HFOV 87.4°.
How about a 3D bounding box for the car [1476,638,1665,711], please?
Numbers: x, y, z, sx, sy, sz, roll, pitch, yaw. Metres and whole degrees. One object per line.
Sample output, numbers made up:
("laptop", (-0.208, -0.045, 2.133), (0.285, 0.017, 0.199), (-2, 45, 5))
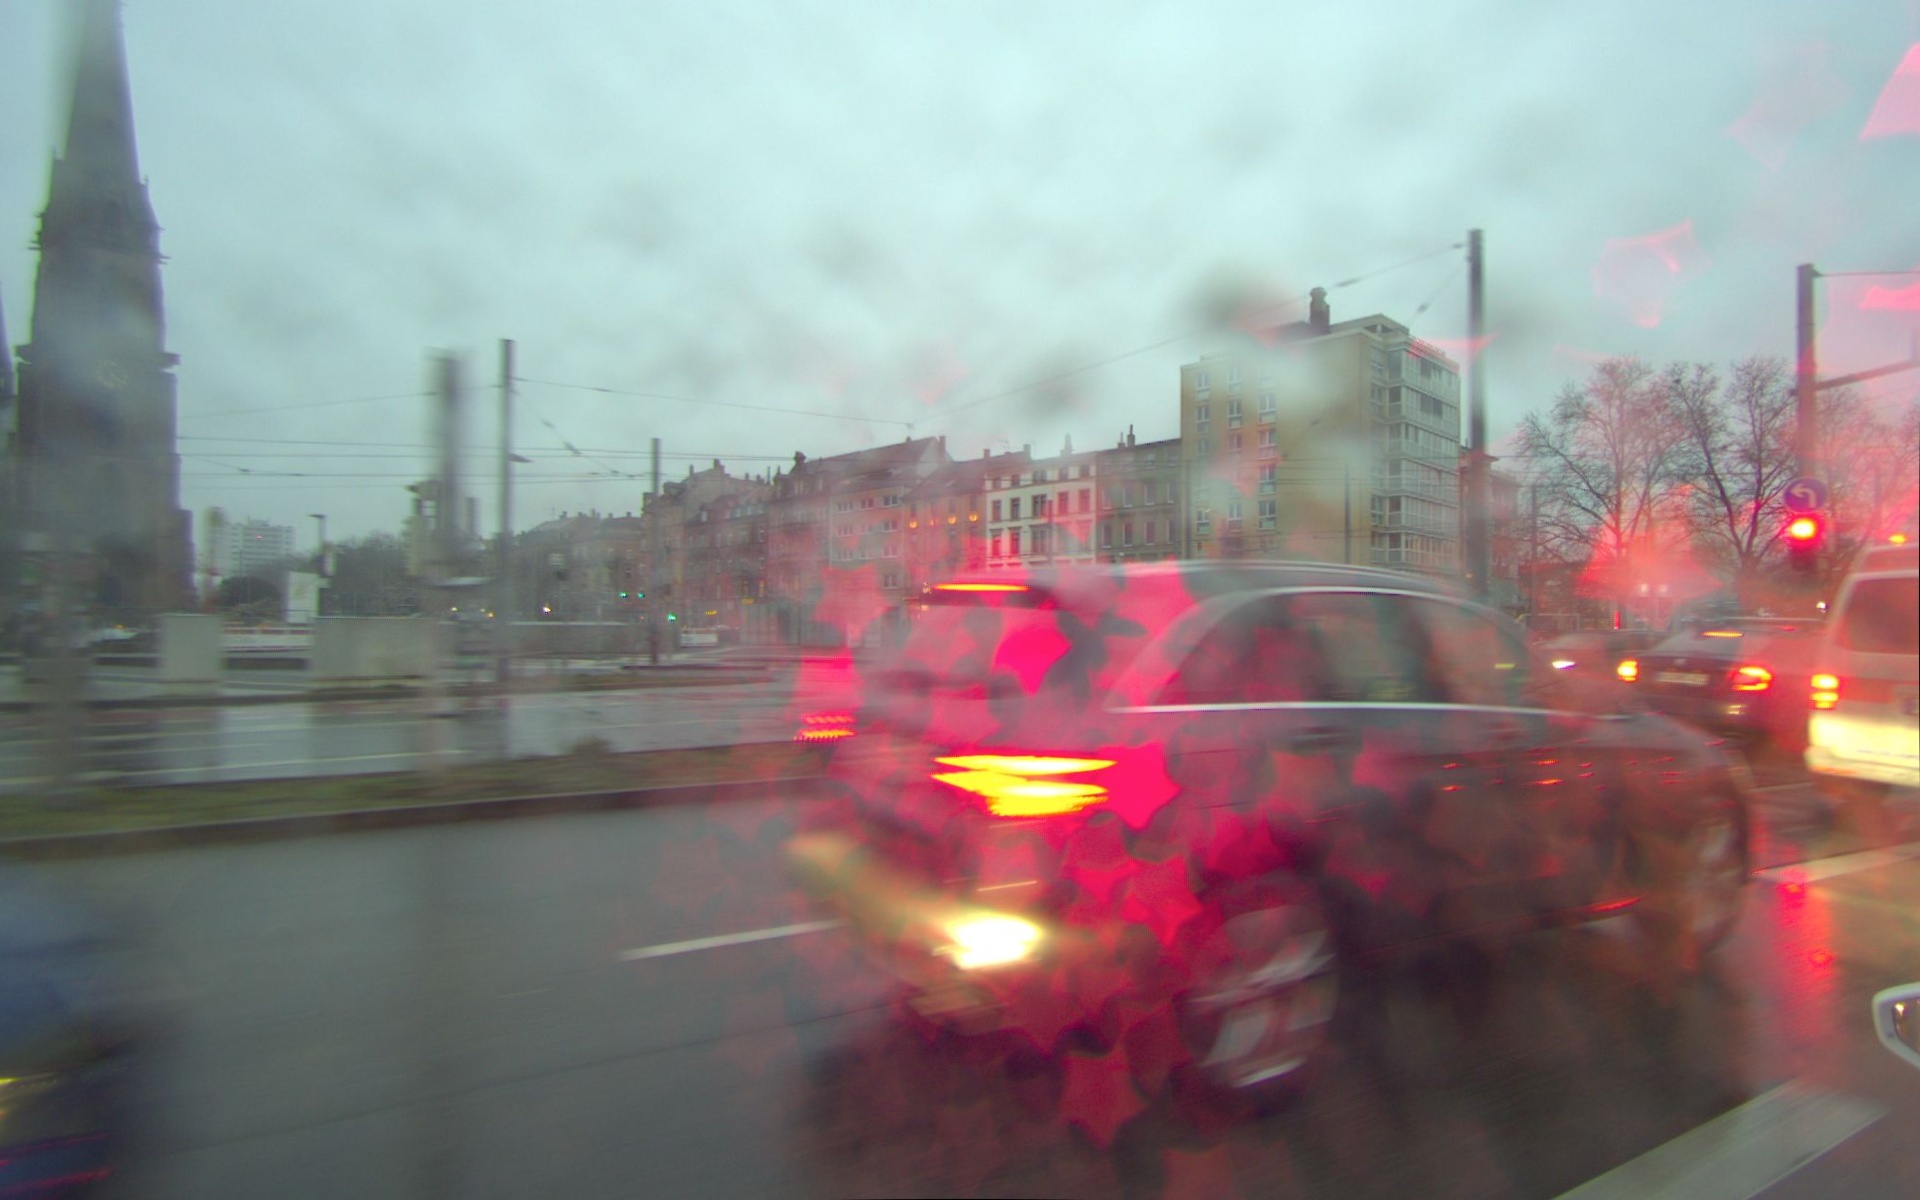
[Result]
("car", (13.881, 1.630, 22.760), (4.771, 1.438, 1.795), (2, -1, -33))

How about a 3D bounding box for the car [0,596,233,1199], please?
("car", (-3.264, 0.673, 0.945), (4.077, 1.423, 1.649), (2, 0, -34))

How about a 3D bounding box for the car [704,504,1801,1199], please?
("car", (1.424, 0.629, 4.169), (4.489, 1.622, 1.776), (2, 1, -31))

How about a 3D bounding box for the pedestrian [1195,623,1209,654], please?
("pedestrian", (14.517, 2.318, 60.283), (0.621, 1.826, 0.570), (-1, -2, 44))

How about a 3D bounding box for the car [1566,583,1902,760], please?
("car", (9.317, 0.782, 12.045), (3.954, 1.795, 1.876), (1, -1, -31))

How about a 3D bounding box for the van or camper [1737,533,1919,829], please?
("van or camper", (9.083, 0.642, 8.445), (4.924, 2.137, 2.193), (1, 0, -28))

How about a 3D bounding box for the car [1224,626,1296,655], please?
("car", (19.017, 2.537, 63.836), (1.987, 1.795, 3.948), (2, -3, -44))
